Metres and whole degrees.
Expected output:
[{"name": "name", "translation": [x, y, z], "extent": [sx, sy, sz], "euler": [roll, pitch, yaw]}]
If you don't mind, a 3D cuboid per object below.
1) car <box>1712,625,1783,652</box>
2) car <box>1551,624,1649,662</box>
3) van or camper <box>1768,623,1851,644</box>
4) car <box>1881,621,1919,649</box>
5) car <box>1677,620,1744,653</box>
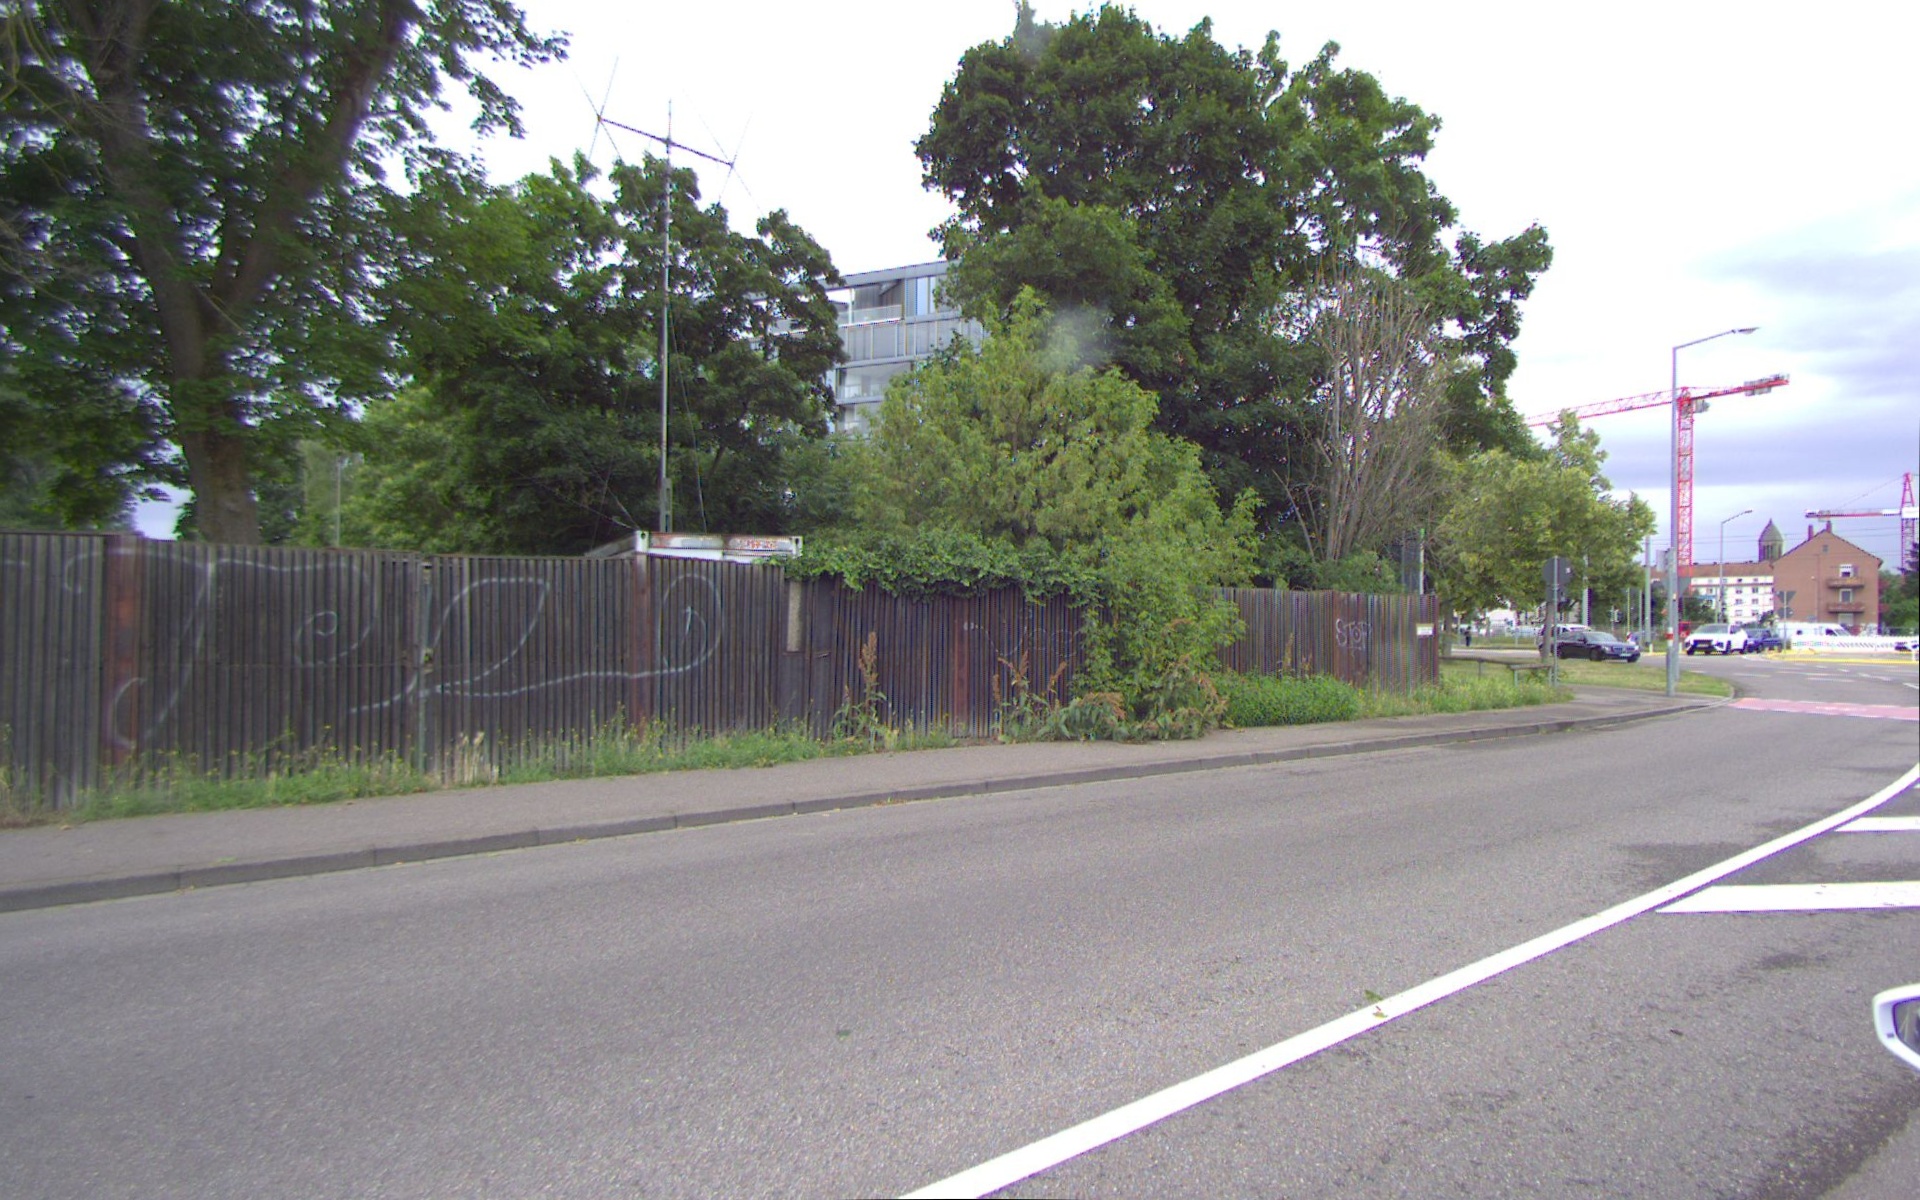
[{"name": "car", "translation": [45.690, 2.240, 58.238], "extent": [3.953, 1.509, 1.922], "euler": [1, -1, -30]}, {"name": "car", "translation": [29.971, 1.973, 47.211], "extent": [1.961, 1.706, 3.999], "euler": [0, -1, -2]}, {"name": "van or camper", "translation": [83.949, 3.306, 99.385], "extent": [1.969, 2.040, 6.171], "euler": [1, -1, -19]}, {"name": "car", "translation": [58.993, 2.113, 60.764], "extent": [4.580, 1.656, 2.001], "euler": [0, -1, 5]}, {"name": "car", "translation": [40.512, 1.951, 54.189], "extent": [4.152, 1.706, 1.916], "euler": [1, -1, -38]}]
